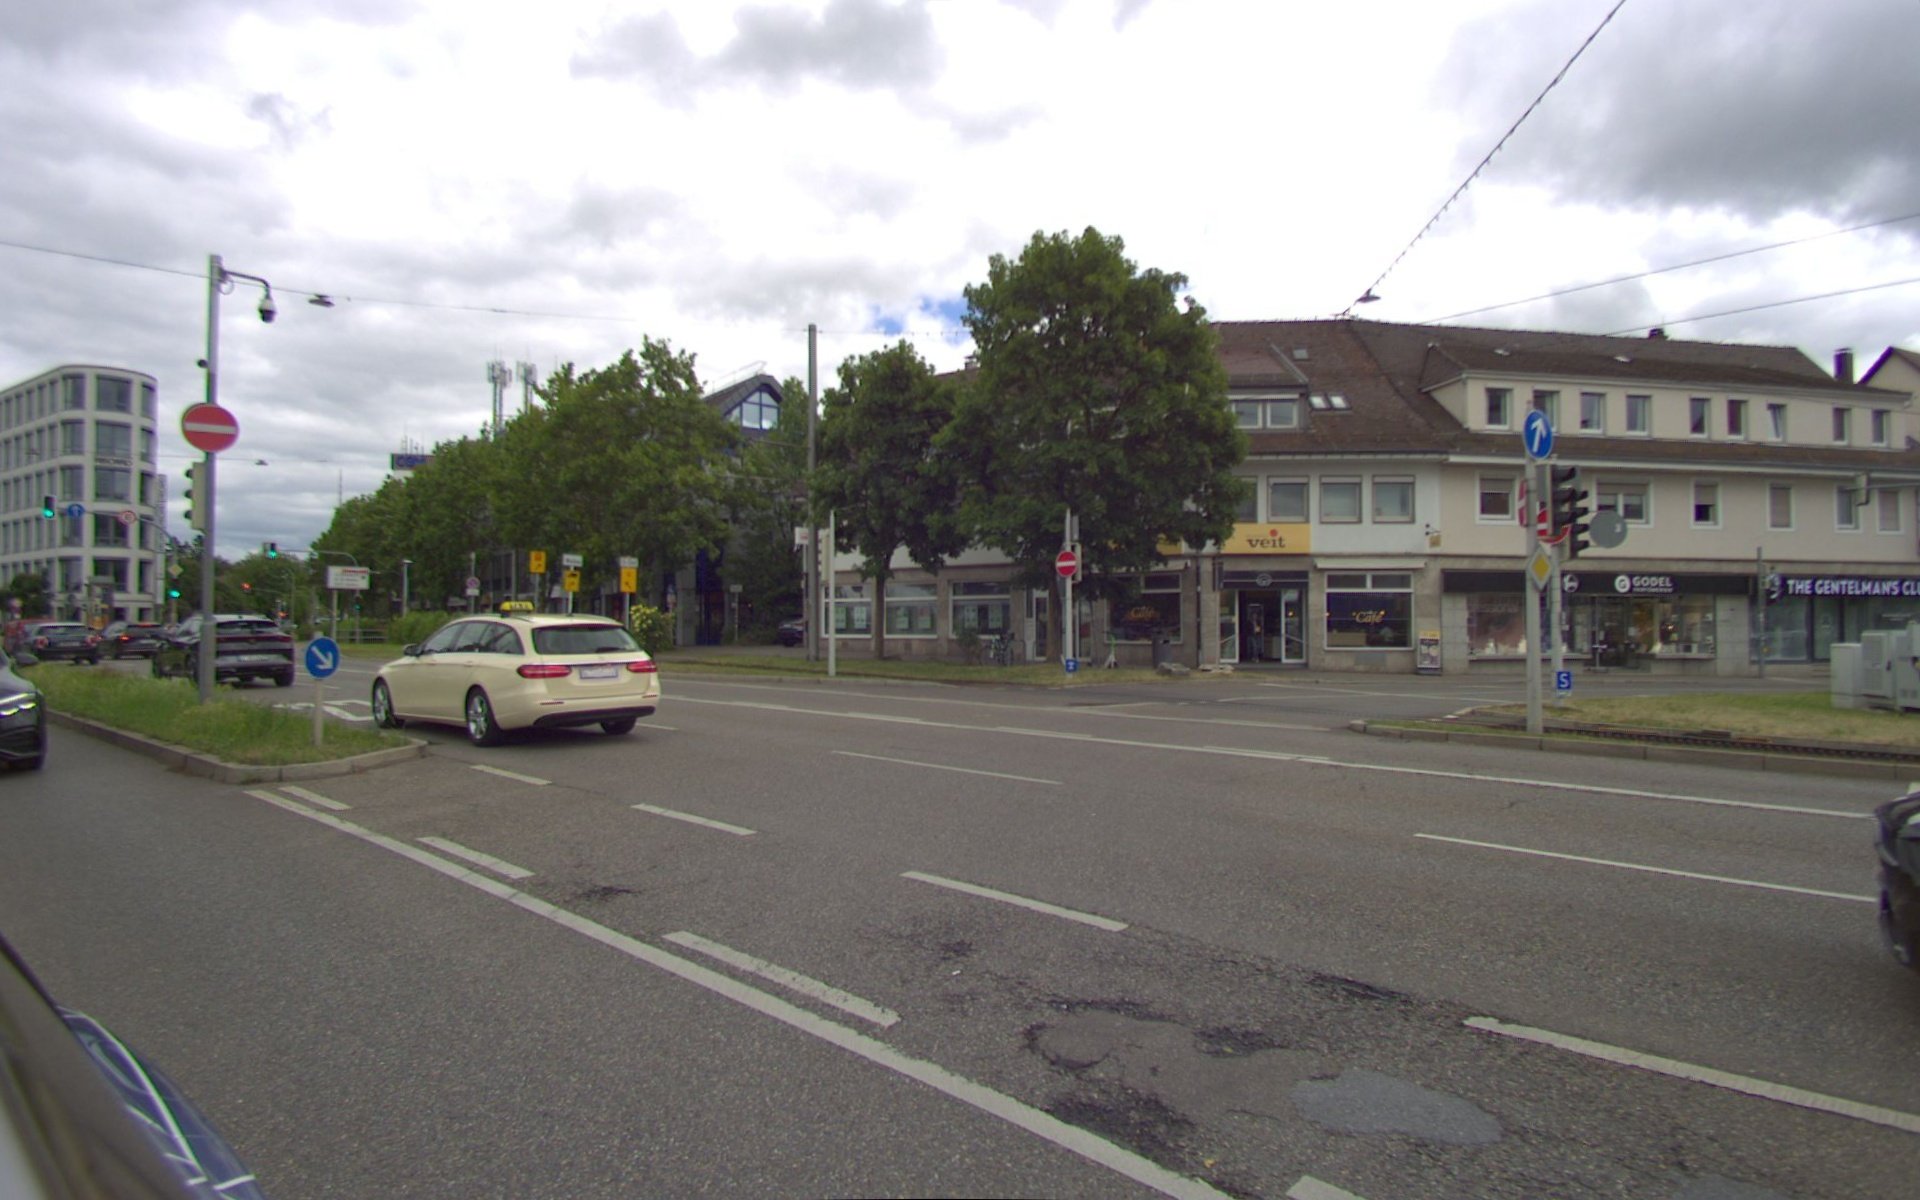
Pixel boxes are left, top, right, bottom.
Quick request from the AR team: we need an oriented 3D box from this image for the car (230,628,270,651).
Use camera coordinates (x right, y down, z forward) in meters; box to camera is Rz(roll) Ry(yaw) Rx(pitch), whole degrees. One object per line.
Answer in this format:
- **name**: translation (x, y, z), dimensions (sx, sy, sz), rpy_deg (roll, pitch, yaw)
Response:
- **car**: translation (-47.995, 2.654, 68.354), dimensions (1.924, 1.483, 4.551), rpy_deg (0, -1, -39)

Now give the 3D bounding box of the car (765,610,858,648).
- **car**: translation (-6.518, 1.254, 44.808), dimensions (1.993, 1.608, 3.956), rpy_deg (-1, -1, 32)

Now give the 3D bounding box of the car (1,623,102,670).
- **car**: translation (-30.826, 1.520, 34.289), dimensions (4.539, 1.483, 1.930), rpy_deg (-1, -1, 40)

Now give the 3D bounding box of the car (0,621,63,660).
- **car**: translation (-48.950, 2.090, 53.286), dimensions (4.539, 1.922, 1.930), rpy_deg (-1, -1, 40)

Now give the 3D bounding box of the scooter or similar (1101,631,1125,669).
- **scooter or similar**: translation (4.168, 1.356, 27.535), dimensions (0.619, 0.988, 1.445), rpy_deg (0, -1, 9)

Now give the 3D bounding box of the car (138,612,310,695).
- **car**: translation (-15.976, 1.076, 21.875), dimensions (4.769, 1.606, 1.930), rpy_deg (-1, -1, 40)

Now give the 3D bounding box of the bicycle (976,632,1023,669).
- **bicycle**: translation (1.143, 1.427, 28.833), dimensions (0.623, 0.995, 2.039), rpy_deg (-1, -1, 24)

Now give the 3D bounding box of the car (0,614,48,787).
- **car**: translation (-10.868, 0.939, 10.195), dimensions (4.769, 1.563, 1.849), rpy_deg (-1, -1, 40)

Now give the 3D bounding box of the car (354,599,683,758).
- **car**: translation (-5.610, 0.841, 12.535), dimensions (4.813, 1.606, 1.892), rpy_deg (-1, -1, 41)

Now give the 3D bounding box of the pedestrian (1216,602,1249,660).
- **pedestrian**: translation (8.825, 0.996, 32.795), dimensions (0.760, 1.836, 0.707), rpy_deg (0, -1, -39)

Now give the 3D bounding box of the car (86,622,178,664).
- **car**: translation (-32.019, 1.620, 39.091), dimensions (4.539, 1.483, 1.930), rpy_deg (-1, -1, 40)

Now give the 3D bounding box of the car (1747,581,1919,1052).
- **car**: translation (5.078, 0.650, 2.467), dimensions (1.971, 1.470, 4.776), rpy_deg (1, -1, -45)
